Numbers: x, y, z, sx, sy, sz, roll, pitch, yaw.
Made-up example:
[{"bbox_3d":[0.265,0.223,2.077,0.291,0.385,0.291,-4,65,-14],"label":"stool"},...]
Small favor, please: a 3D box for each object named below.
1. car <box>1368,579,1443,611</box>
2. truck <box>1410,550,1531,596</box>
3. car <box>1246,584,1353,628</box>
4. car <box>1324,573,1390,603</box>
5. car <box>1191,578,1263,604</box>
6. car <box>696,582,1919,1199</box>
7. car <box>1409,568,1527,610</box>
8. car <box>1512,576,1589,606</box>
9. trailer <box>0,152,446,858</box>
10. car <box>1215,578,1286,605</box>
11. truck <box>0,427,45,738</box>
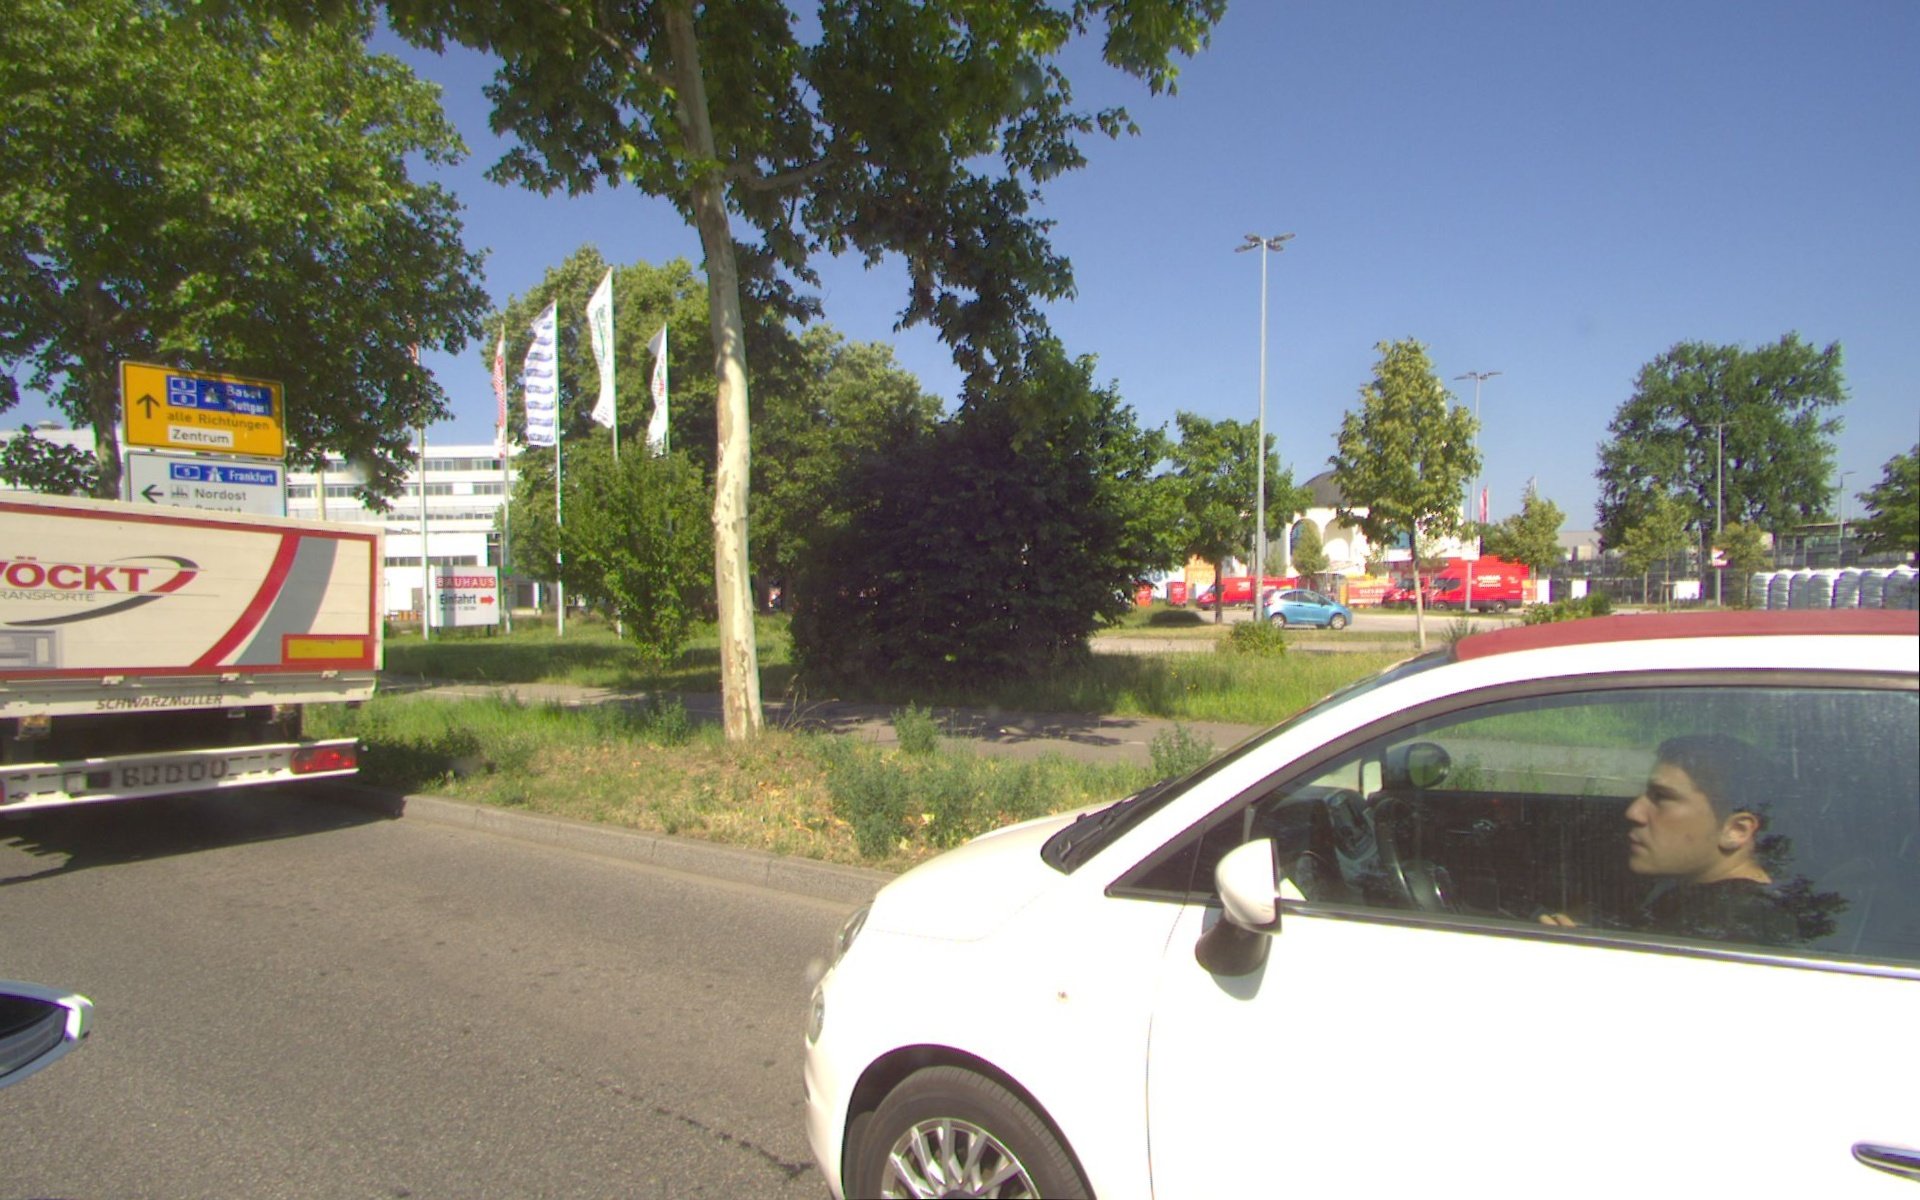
[{"bbox_3d":[27.800,-0.315,62.570,3.924,1.884,1.999,-1,-1,11],"label":"car"},{"bbox_3d":[38.114,-1.985,74.842,8.067,3.290,2.000,0,-1,-2],"label":"truck"},{"bbox_3d":[12.628,0.248,37.377,3.387,1.591,1.745,0,-1,-2],"label":"car"},{"bbox_3d":[28.545,-0.845,72.053,3.922,2.040,2.000,0,-1,2],"label":"car"},{"bbox_3d":[21.516,-0.707,80.835,5.188,2.040,2.000,0,-1,-4],"label":"car"},{"bbox_3d":[1.270,0.725,2.048,3.472,1.455,1.657,-1,-1,35],"label":"car"},{"bbox_3d":[29.689,-0.625,58.673,5.823,2.371,2.115,0,-1,2],"label":"car"},{"bbox_3d":[41.665,-0.621,70.700,4.304,2.040,2.000,0,-1,-2],"label":"car"},{"bbox_3d":[-9.657,-0.386,9.506,12.070,3.789,3.009,-1,-1,34],"label":"trailer"},{"bbox_3d":[21.785,-0.616,75.237,4.824,1.906,1.770,0,-1,2],"label":"car"},{"bbox_3d":[-15.415,-0.166,13.265,7.370,3.806,3.066,-1,-1,32],"label":"truck"}]
